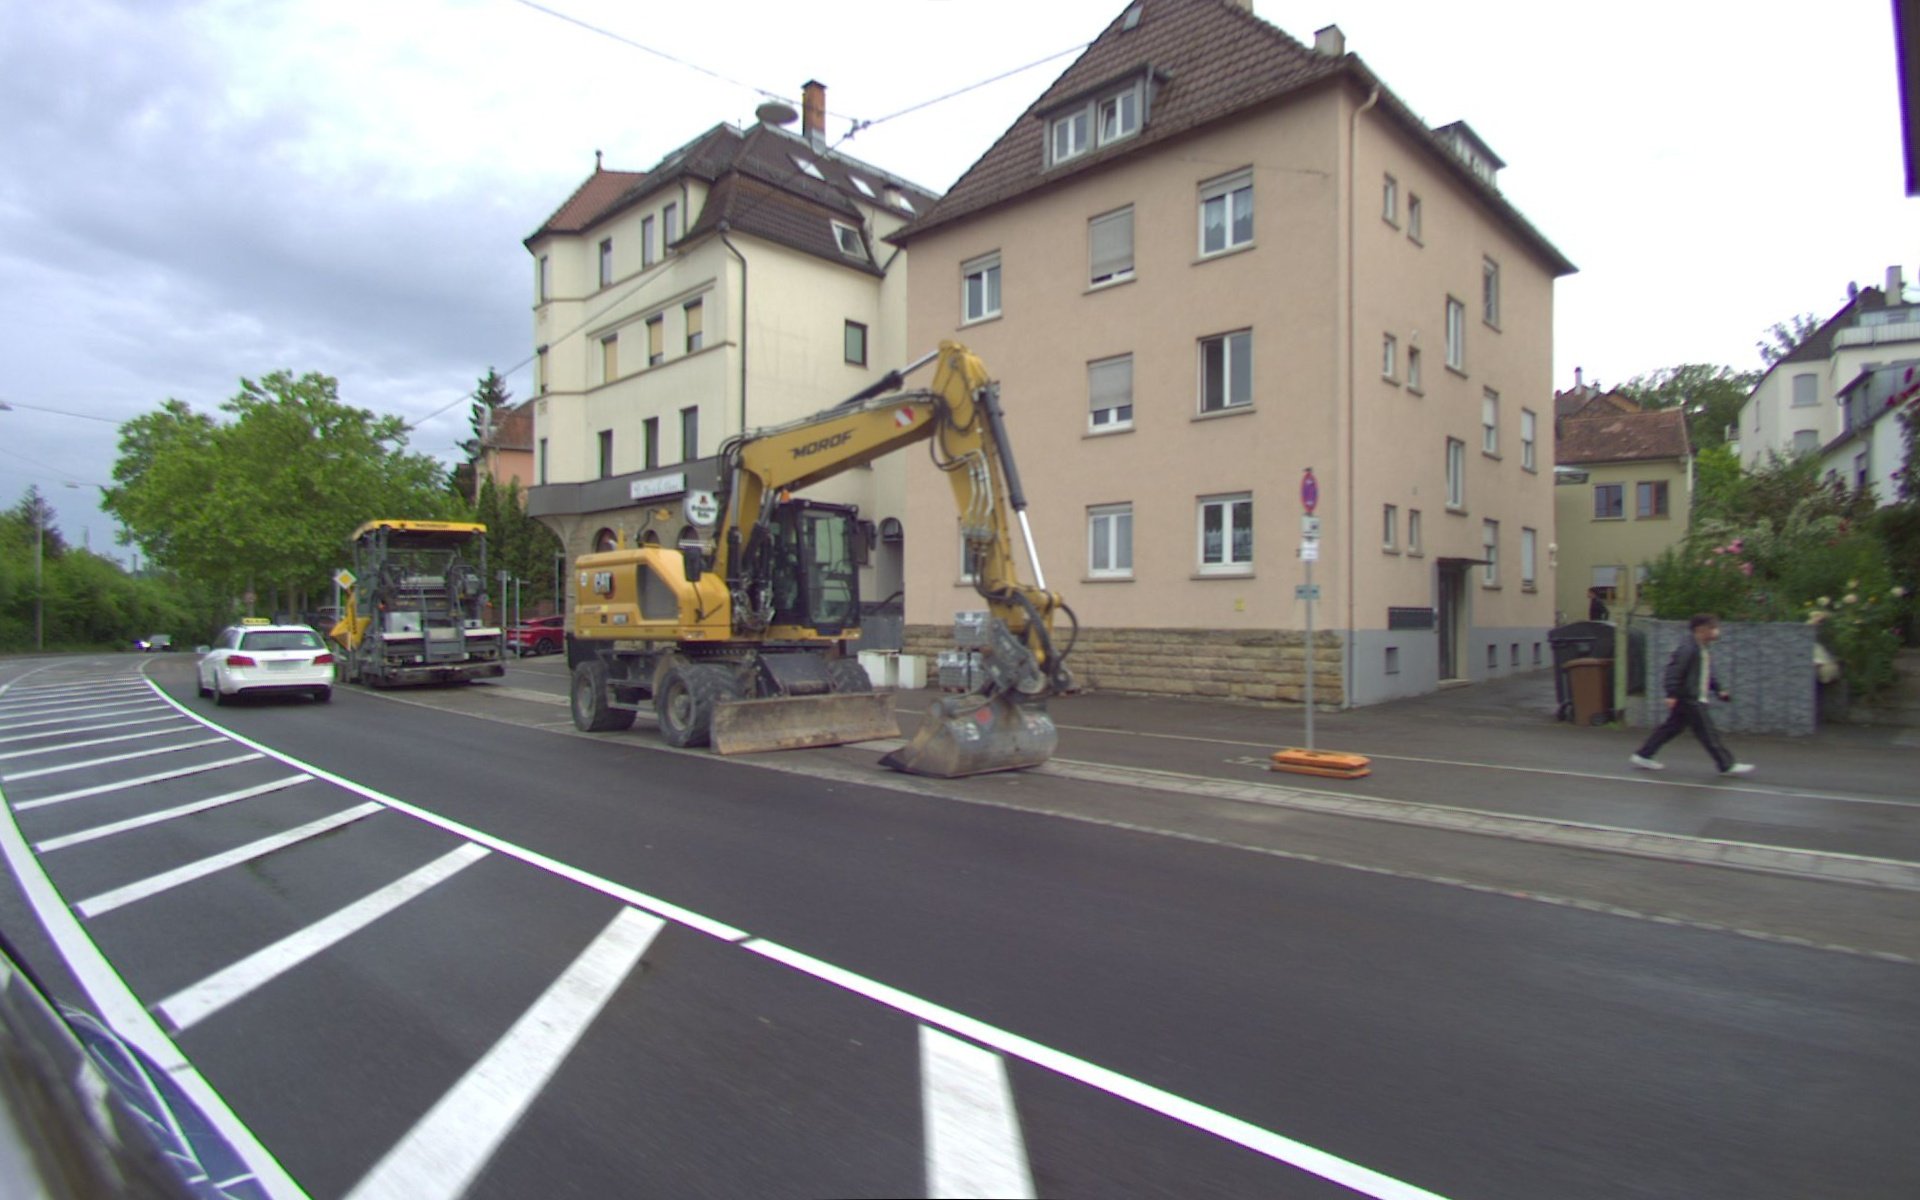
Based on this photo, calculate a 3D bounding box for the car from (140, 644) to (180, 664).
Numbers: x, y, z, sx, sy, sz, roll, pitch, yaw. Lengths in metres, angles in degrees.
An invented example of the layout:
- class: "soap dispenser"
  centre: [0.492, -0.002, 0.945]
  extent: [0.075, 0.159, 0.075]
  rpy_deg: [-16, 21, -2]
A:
- class: "car"
  centre: [-63.662, 4.322, 80.588]
  extent: [1.966, 1.453, 4.012]
  rpy_deg: [-1, -3, -30]

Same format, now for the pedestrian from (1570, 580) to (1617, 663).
- class: "pedestrian"
  centre: [15.953, 0.534, 25.483]
  extent: [0.791, 2.029, 0.809]
  rpy_deg: [-5, -3, 41]

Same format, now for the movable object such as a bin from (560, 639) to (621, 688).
- class: "movable object such as a bin"
  centre: [-9.713, 1.662, 26.595]
  extent: [1.195, 1.232, 0.887]
  rpy_deg: [-3, -2, 19]

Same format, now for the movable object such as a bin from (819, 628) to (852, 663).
- class: "movable object such as a bin"
  centre: [-3.549, 1.300, 28.886]
  extent: [0.646, 0.981, 0.615]
  rpy_deg: [-5, -3, 41]

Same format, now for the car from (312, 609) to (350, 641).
- class: "car"
  centre: [-45.112, 1.808, 72.644]
  extent: [1.966, 2.029, 4.641]
  rpy_deg: [-1, -3, -29]

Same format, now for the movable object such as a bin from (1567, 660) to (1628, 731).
- class: "movable object such as a bin"
  centre: [8.719, 1.294, 13.844]
  extent: [0.574, 0.905, 0.627]
  rpy_deg: [-5, -3, 41]

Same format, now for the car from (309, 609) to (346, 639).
- class: "car"
  centre: [-42.577, 1.641, 68.151]
  extent: [1.805, 1.857, 4.641]
  rpy_deg: [-1, -3, -29]

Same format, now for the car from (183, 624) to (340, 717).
- class: "car"
  centre: [-13.956, 1.296, 20.104]
  extent: [1.906, 1.567, 4.624]
  rpy_deg: [0, 0, -43]

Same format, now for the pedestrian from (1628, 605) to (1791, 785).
- class: "pedestrian"
  centre: [7.182, 0.883, 9.710]
  extent: [1.091, 1.601, 0.756]
  rpy_deg: [-5, -3, 43]

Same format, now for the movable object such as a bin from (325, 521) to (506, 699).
- class: "movable object such as a bin"
  centre: [-13.700, 0.372, 25.214]
  extent: [2.740, 3.885, 5.996]
  rpy_deg: [-1, -3, -40]

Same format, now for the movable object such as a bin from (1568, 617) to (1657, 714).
- class: "movable object such as a bin"
  centre: [10.205, 1.013, 15.825]
  extent: [0.957, 1.422, 1.073]
  rpy_deg: [-5, -3, 41]

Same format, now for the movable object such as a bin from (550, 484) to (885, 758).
- class: "movable object such as a bin"
  centre: [-3.522, 0.353, 14.292]
  extent: [2.838, 3.197, 4.128]
  rpy_deg: [0, -3, -44]

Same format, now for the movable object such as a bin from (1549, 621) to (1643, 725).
- class: "movable object such as a bin"
  centre: [9.177, 1.043, 14.607]
  extent: [0.957, 1.422, 0.844]
  rpy_deg: [-5, -3, 41]

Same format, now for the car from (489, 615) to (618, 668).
- class: "car"
  centre: [-16.377, 1.630, 40.982]
  extent: [1.931, 1.585, 4.497]
  rpy_deg: [-4, 2, 33]

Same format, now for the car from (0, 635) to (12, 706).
- class: "car"
  centre: [-21.175, 1.510, 20.889]
  extent: [1.950, 1.517, 4.008]
  rpy_deg: [-1, -3, -38]
